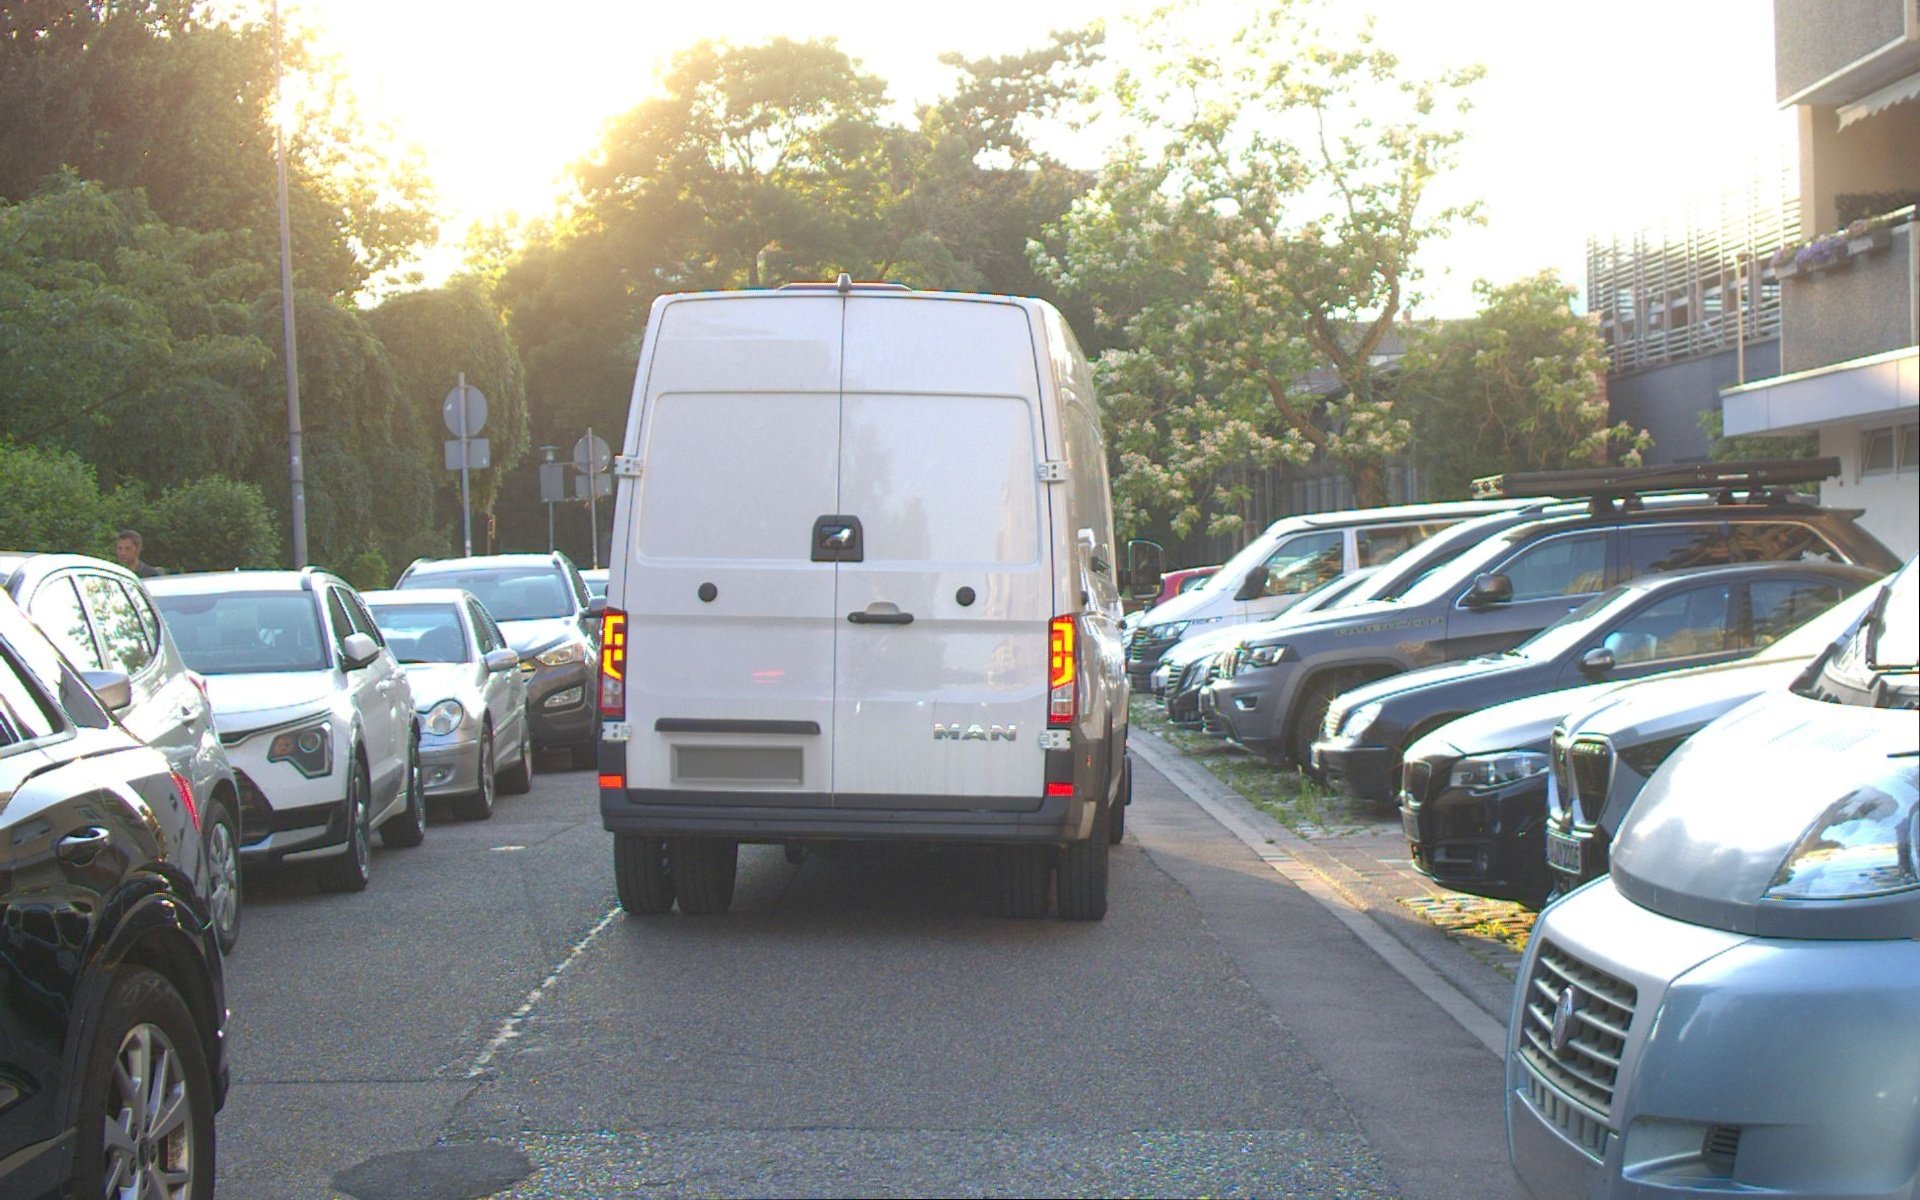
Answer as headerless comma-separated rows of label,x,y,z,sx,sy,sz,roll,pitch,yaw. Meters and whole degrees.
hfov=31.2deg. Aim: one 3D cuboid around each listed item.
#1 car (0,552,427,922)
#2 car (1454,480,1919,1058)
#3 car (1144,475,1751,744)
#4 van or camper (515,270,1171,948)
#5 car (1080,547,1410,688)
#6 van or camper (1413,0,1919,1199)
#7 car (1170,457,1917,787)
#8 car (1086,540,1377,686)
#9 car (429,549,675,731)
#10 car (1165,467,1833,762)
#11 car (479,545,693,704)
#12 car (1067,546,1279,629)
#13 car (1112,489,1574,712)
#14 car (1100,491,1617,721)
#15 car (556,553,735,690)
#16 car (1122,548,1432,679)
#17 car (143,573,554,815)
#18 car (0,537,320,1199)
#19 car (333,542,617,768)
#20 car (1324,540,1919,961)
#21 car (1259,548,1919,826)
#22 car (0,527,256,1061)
car,-3.801,0.577,17.026,1.856,1.549,4.100,-2,1,-3
car,4.081,0.438,11.555,4.433,1.722,1.773,-2,1,-6
car,3.953,0.055,28.469,4.705,2.138,2.000,0,1,-2
van or camper,-0.268,-0.012,16.102,2.454,2.538,6.082,1,1,4
car,3.536,0.200,43.203,3.987,1.722,2.000,0,1,0
van or camper,3.923,0.004,6.093,5.928,2.760,2.110,0,1,-1
car,3.867,0.125,23.383,4.705,2.138,2.000,0,1,-2
car,3.791,0.168,48.562,3.987,2.007,2.000,0,1,1
car,-3.792,0.325,32.554,1.993,1.612,4.000,0,1,-2
car,3.993,0.089,26.042,4.705,2.138,2.000,0,1,-2
car,-3.949,0.220,36.865,1.993,1.612,4.000,0,1,-2
car,4.218,-0.257,68.515,3.986,1.612,2.000,0,1,-4
car,3.875,-0.007,35.332,4.495,2.223,2.032,0,1,-1
car,3.775,0.036,33.147,4.705,2.138,2.000,0,1,-2
car,-3.840,0.231,42.586,1.993,1.612,4.000,0,1,-2
car,4.223,0.169,46.242,3.987,1.722,2.000,0,1,0
car,-3.815,0.534,22.125,1.993,1.393,4.000,0,1,-1
car,-2.567,0.708,5.275,1.805,1.564,4.564,-1,1,7
car,-3.769,0.378,27.346,1.993,1.656,4.001,0,1,-5
car,3.678,0.514,14.146,3.986,1.449,1.836,-4,1,-4
car,4.036,0.487,20.720,4.236,1.420,1.719,-3,1,-1
car,-3.809,0.618,11.797,1.783,1.625,4.000,-3,1,2
